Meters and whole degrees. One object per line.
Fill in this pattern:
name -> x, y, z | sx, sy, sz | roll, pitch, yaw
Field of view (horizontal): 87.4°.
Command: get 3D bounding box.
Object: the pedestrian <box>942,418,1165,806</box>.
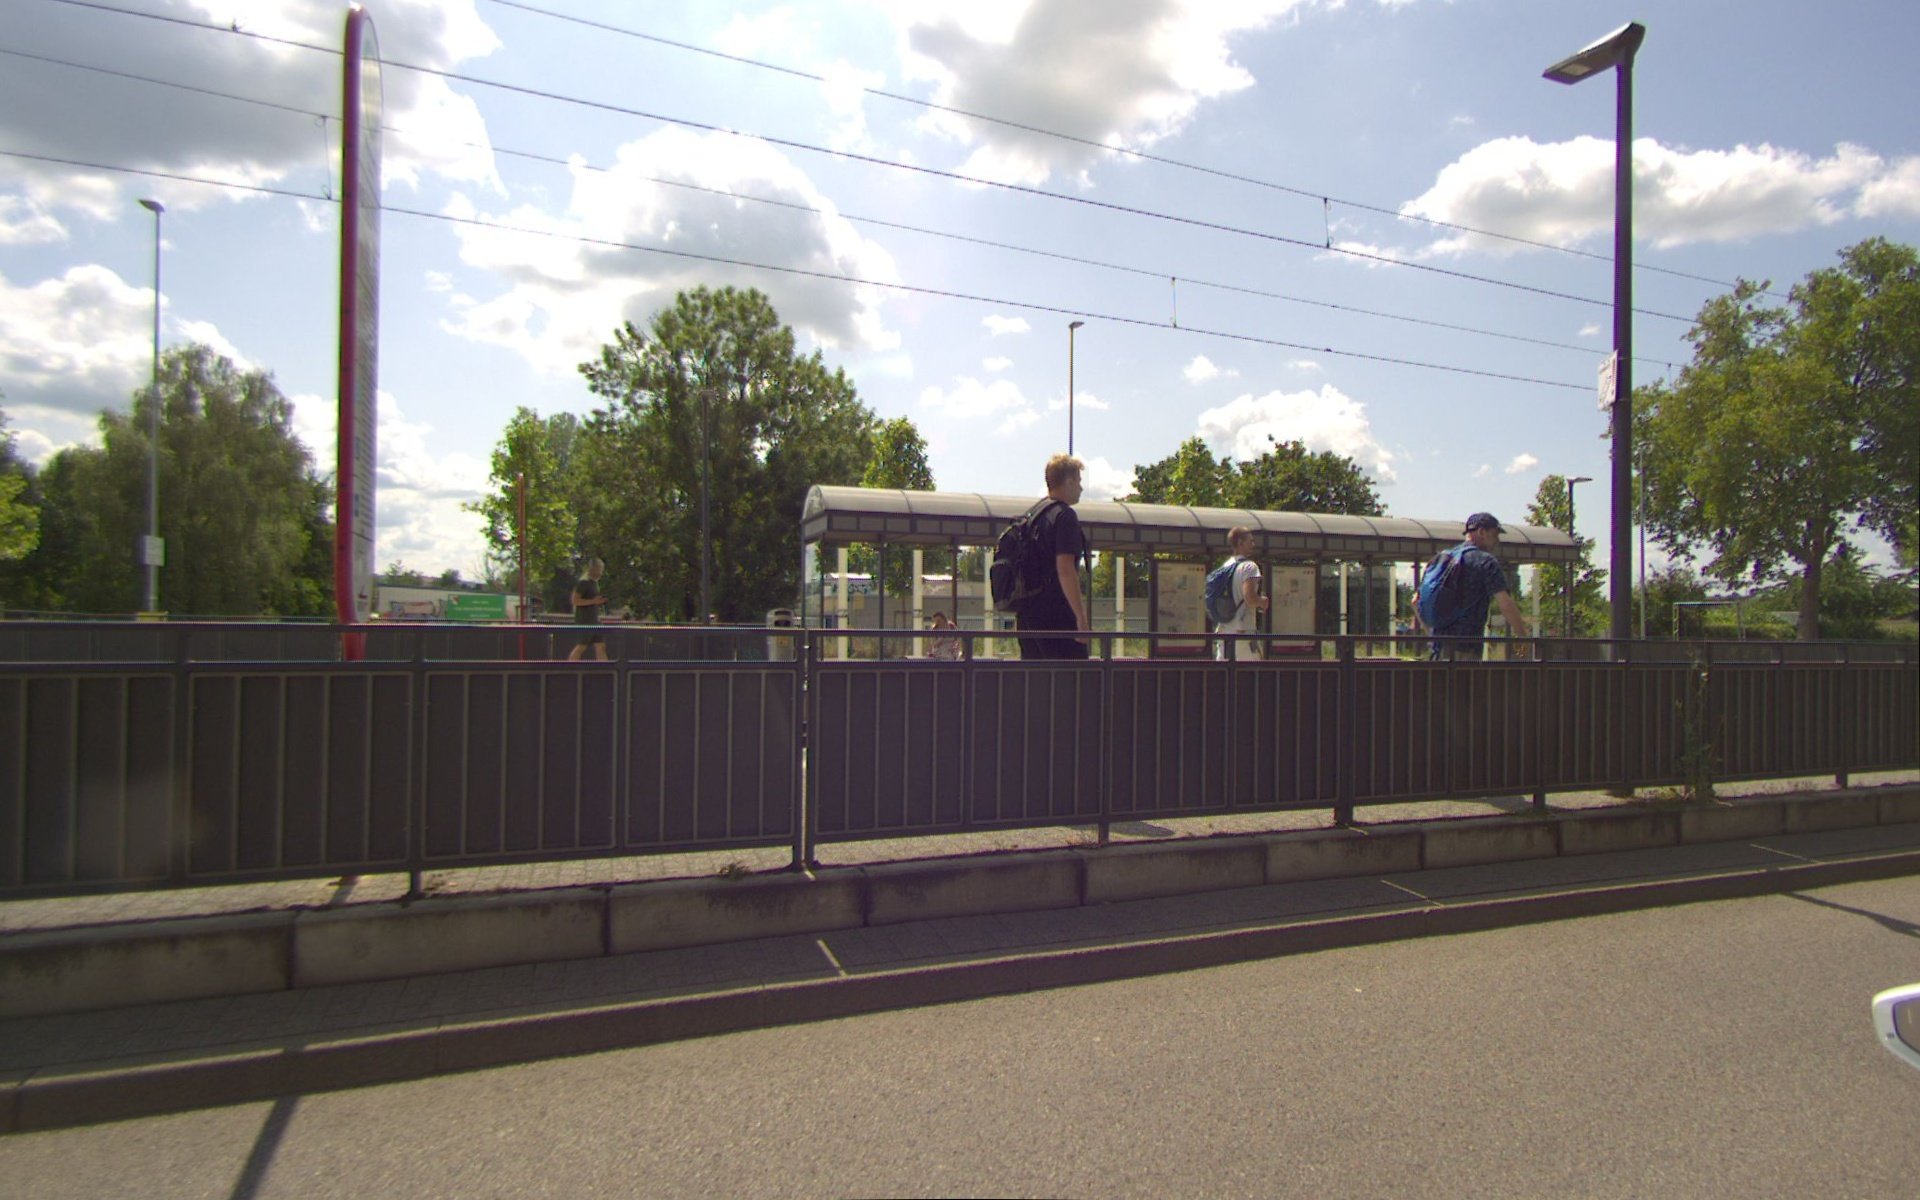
pedestrian -> 0.501, 0.059, 5.666 | 0.979, 1.965, 0.871 | 0, 1, -21

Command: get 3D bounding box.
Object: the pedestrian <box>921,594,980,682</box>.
pedestrian -> -0.164, 0.650, 16.983 | 0.775, 1.450, 0.760 | 1, -3, -21

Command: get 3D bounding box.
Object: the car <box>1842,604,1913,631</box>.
car -> 58.510, 1.082, 64.036 | 3.871, 1.684, 1.899 | 0, 0, -23

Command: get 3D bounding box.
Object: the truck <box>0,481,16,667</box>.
truck -> -26.670, -0.665, 19.478 | 11.824, 4.159, 2.936 | 1, 0, -23

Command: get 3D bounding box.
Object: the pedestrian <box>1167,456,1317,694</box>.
pedestrian -> 2.305, -0.186, 8.260 | 0.916, 1.831, 0.733 | 1, 0, -20

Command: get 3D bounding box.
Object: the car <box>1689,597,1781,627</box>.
car -> 45.291, 0.669, 58.801 | 1.880, 1.684, 3.911 | 0, 0, -19

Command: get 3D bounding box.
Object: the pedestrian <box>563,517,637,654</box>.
pedestrian -> -4.992, -0.192, 13.933 | 0.916, 1.831, 0.733 | 1, 0, -20

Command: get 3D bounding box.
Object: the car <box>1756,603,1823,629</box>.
car -> 55.967, 1.073, 67.793 | 3.871, 1.684, 1.899 | 0, 0, -23

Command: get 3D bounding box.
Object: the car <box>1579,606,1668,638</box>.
car -> 37.687, 1.223, 57.163 | 1.880, 1.684, 3.911 | 0, 0, -19

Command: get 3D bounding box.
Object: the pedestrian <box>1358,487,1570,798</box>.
pedestrian -> 3.114, 0.250, 6.249 | 0.916, 1.779, 0.733 | 1, 0, -20
